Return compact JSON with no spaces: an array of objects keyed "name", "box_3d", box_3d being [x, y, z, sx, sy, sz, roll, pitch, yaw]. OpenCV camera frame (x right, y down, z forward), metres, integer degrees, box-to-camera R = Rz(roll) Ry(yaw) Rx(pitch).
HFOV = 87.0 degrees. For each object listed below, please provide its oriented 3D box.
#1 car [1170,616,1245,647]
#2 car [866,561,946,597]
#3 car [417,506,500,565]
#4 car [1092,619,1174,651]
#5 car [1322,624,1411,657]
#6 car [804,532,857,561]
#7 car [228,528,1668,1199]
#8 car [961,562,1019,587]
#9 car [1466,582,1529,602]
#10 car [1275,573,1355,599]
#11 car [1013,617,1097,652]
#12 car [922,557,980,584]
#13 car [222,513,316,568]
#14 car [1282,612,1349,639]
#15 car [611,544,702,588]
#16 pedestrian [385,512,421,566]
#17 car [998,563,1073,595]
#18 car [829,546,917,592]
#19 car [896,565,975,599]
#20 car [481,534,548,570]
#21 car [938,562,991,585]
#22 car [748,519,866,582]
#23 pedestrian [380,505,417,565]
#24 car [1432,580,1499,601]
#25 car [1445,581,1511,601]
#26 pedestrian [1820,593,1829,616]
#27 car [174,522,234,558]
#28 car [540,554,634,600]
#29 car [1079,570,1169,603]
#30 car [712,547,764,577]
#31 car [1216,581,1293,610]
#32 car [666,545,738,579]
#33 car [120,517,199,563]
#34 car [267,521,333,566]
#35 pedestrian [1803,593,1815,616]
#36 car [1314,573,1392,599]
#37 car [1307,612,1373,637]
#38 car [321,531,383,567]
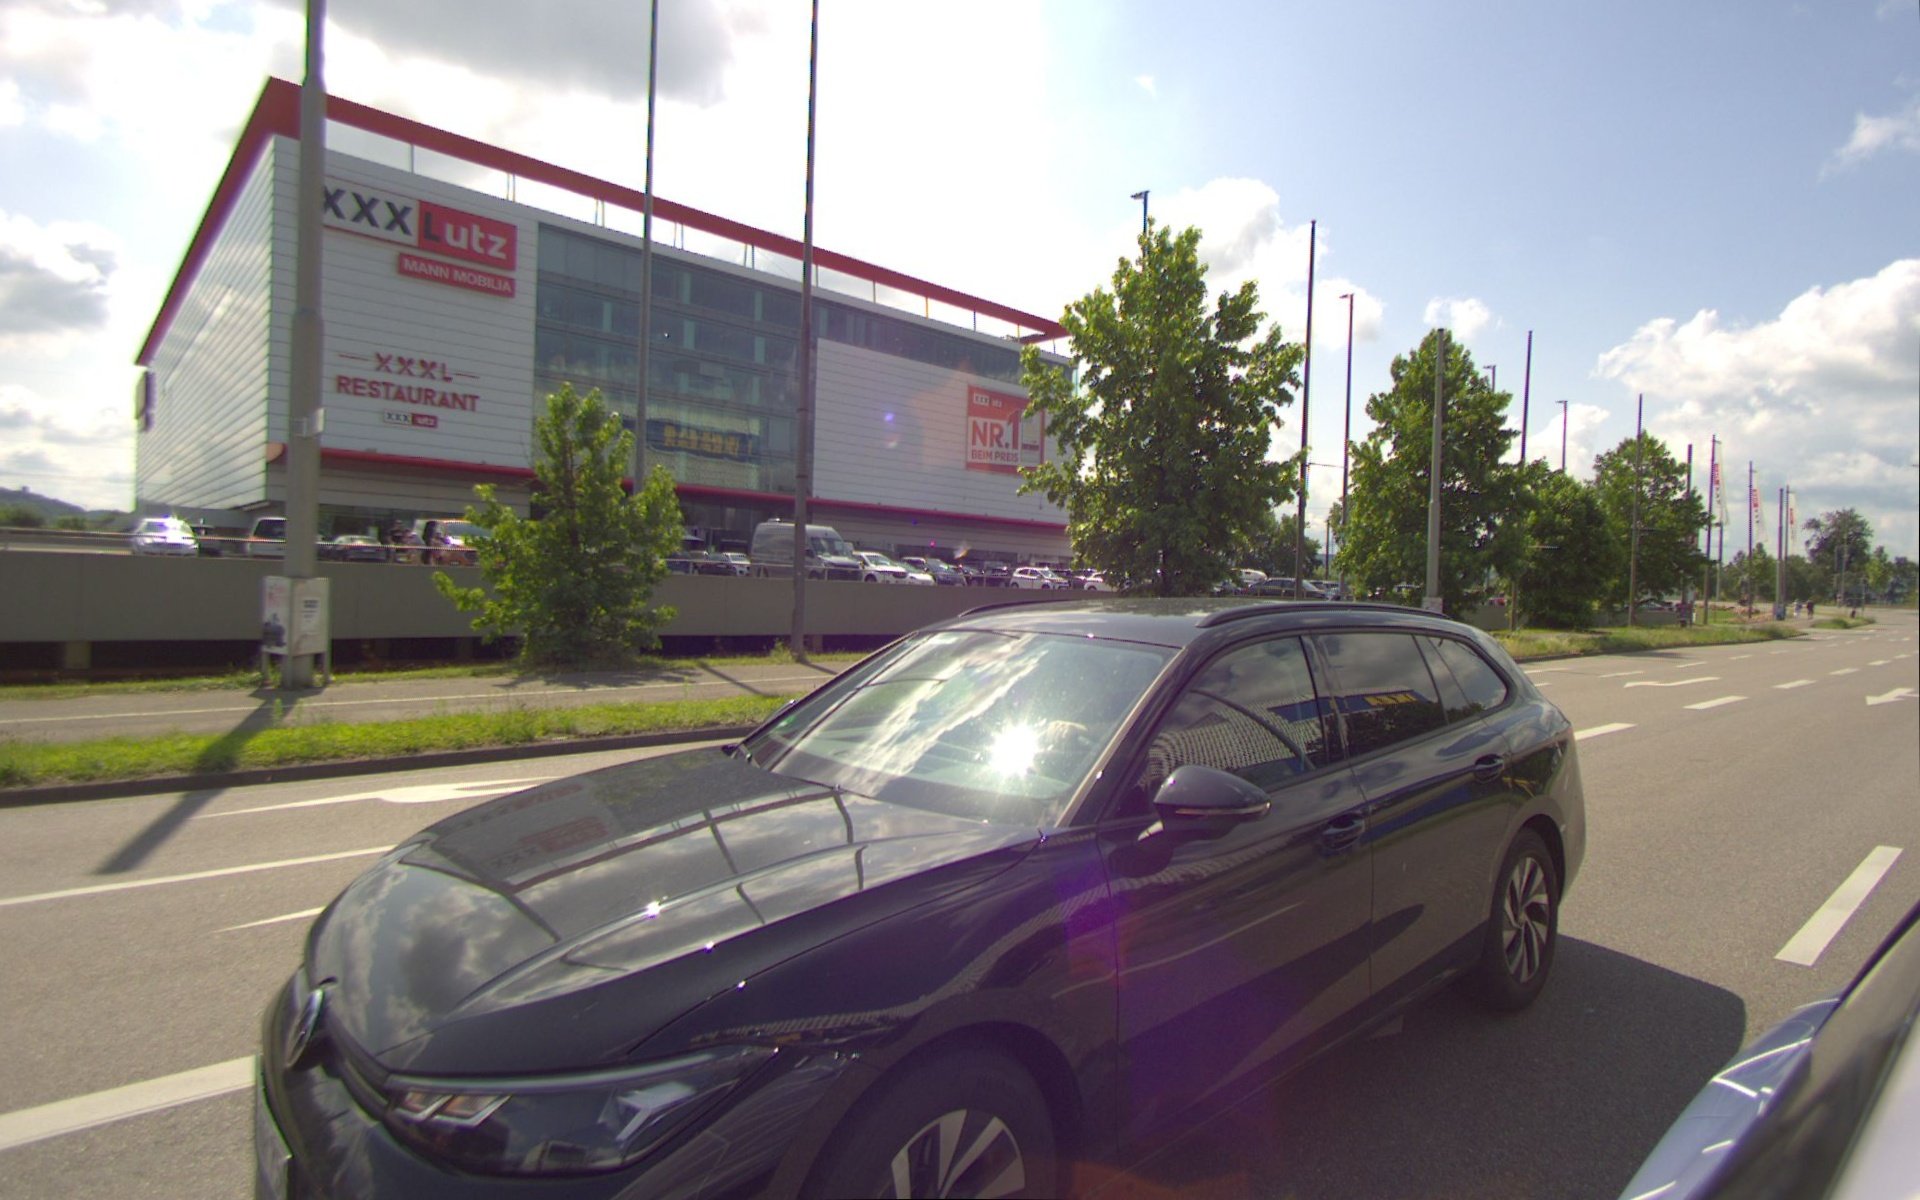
[{"name":"car","box_3d":[15.413,1.939,63.154,1.534,1.786,4.412,0,0,-44]},{"name":"car","box_3d":[-2.645,-1.003,48.498,1.917,1.625,4.425,0,1,-33]},{"name":"car","box_3d":[-17.241,-2.140,34.695,1.881,1.772,4.187,0,0,-36]},{"name":"car","box_3d":[9.963,2.005,58.500,1.922,1.625,4.414,0,1,-43]},{"name":"car","box_3d":[23.402,2.306,58.397,1.921,1.625,4.416,0,1,-41]},{"name":"car","box_3d":[-8.159,-3.286,63.246,1.915,1.625,4.430,0,1,-27]},{"name":"car","box_3d":[0.679,0.652,3.541,5.114,1.496,1.811,0,1,-42]},{"name":"car","box_3d":[1.969,-1.695,67.732,1.916,1.625,4.428,0,1,-30]},{"name":"car","box_3d":[45.942,-0.719,86.610,1.921,1.625,4.416,0,1,-41]},{"name":"car","box_3d":[22.330,-0.885,63.759,1.921,1.625,4.416,0,1,-41]},{"name":"car","box_3d":[4.967,1.768,53.439,1.919,1.625,4.420,0,1,-38]},{"name":"car","box_3d":[-0.621,-1.804,64.019,1.915,1.625,4.430,0,1,-27]},{"name":"car","box_3d":[-23.050,-1.917,33.687,1.922,1.625,4.412,0,1,-44]},{"name":"car","box_3d":[25.595,1.792,72.966,1.534,1.786,4.412,0,0,-44]},{"name":"car","box_3d":[-12.141,-1.316,40.281,1.920,1.625,4.418,0,1,-40]},{"name":"pedestrian","box_3d":[-18.962,-2.055,34.463,1.014,1.764,0.698,0,0,36]},{"name":"car","box_3d":[4.282,-1.167,57.764,1.534,1.786,4.412,0,0,-44]},{"name":"car","box_3d":[-3.670,-1.248,42.139,1.718,1.816,3.995,0,0,-40]},{"name":"car","box_3d":[-1.298,-0.873,50.673,1.917,1.625,4.425,0,1,-33]},{"name":"car","box_3d":[-22.440,-2.375,50.885,1.920,1.625,4.418,0,1,-40]},{"name":"car","box_3d":[0.271,-1.897,73.280,1.916,1.625,4.428,0,1,-30]},{"name":"car","box_3d":[-6.229,-1.892,40.607,1.720,2.312,5.784,0,0,-44]},{"name":"pedestrian","box_3d":[-19.570,-2.247,35.265,0.895,2.039,0.706,0,0,4]},{"name":"car","box_3d":[40.380,-0.781,80.962,1.921,1.625,4.416,0,1,-41]},{"name":"car","box_3d":[42.695,-0.746,83.495,1.921,1.625,4.416,0,1,-41]},{"name":"pedestrian","box_3d":[68.079,0.343,79.722,0.524,1.836,0.668,0,0,39]},{"name":"car","box_3d":[-37.986,-2.979,50.831,1.922,1.625,4.412,0,1,-44]},{"name":"car","box_3d":[-14.226,-0.852,38.494,1.921,1.625,4.416,0,1,-41]},{"name":"car","box_3d":[8.504,-0.706,52.611,1.921,1.625,4.416,0,1,-41]},{"name":"car","box_3d":[-13.106,-2.206,59.580,1.915,1.625,4.430,0,1,-27]},{"name":"car","box_3d":[16.886,-0.281,58.230,1.746,1.624,3.996,0,0,-39]},{"name":"car","box_3d":[-13.404,-1.922,52.501,1.920,1.625,4.418,0,1,-40]},{"name":"car","box_3d":[-29.961,-2.198,37.831,1.922,1.489,4.412,0,1,-44]},{"name":"car","box_3d":[-29.078,-2.424,44.532,1.883,1.772,3.993,0,0,-41]},{"name":"pedestrian","box_3d":[67.255,0.366,80.172,0.701,1.836,0.538,0,0,40]},{"name":"car","box_3d":[25.903,-0.932,66.756,1.921,1.625,4.416,0,1,-41]},{"name":"car","box_3d":[28.353,1.795,75.649,1.534,1.786,4.412,0,0,-44]},{"name":"car","box_3d":[-27.834,-2.285,46.275,1.534,1.489,4.412,0,1,-44]}]
